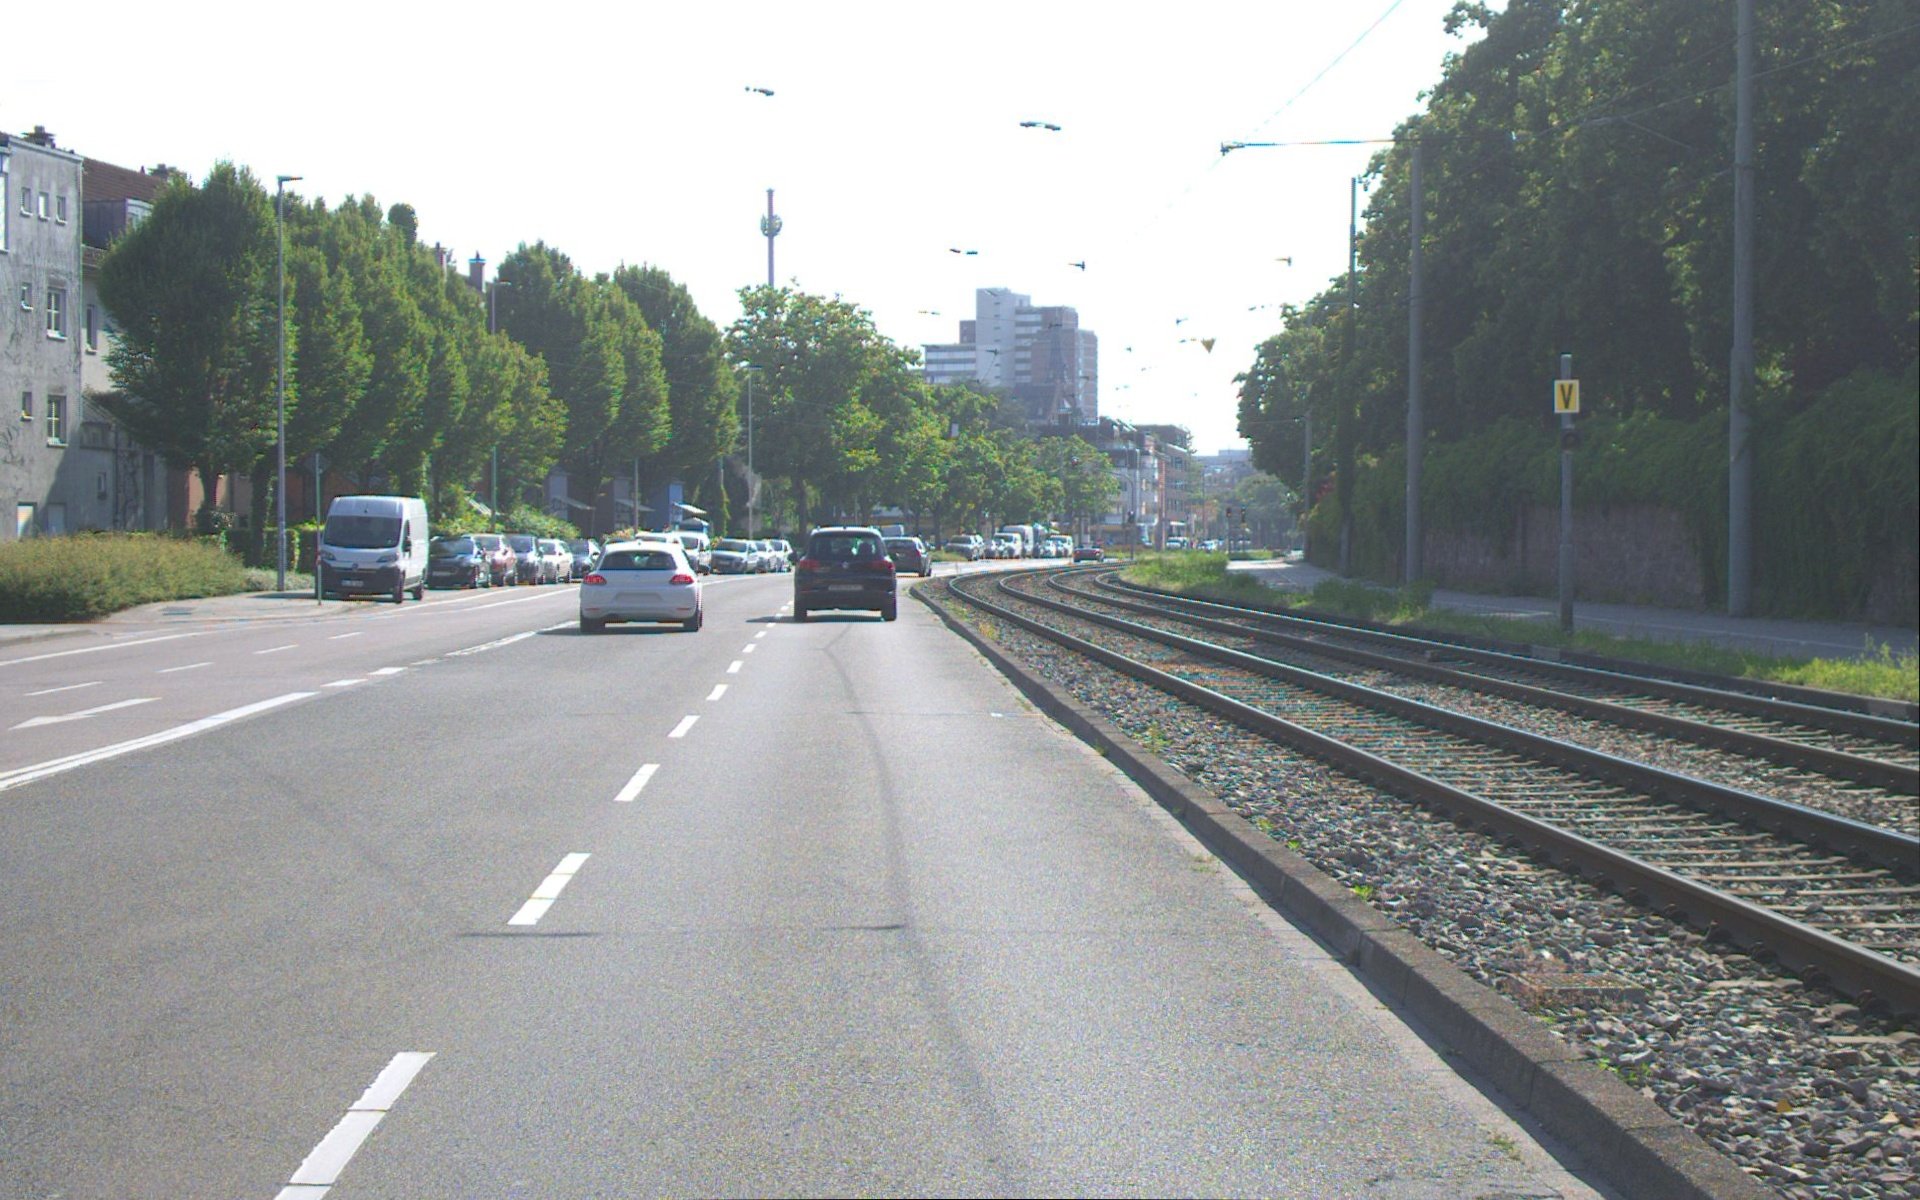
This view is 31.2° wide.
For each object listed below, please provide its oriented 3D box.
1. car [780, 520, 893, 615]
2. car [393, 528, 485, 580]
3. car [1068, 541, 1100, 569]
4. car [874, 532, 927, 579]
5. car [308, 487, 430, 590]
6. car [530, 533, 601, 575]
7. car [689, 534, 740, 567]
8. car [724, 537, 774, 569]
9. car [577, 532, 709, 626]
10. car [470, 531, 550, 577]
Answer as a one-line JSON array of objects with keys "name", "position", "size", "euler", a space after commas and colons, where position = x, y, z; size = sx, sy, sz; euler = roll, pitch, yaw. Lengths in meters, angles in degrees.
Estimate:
[{"name": "car", "position": [-2.219, -0.598, 61.010], "size": [1.724, 1.587, 3.602], "euler": [2, 1, -6]}, {"name": "car", "position": [-14.715, -1.310, 97.329], "size": [1.993, 1.411, 3.844], "euler": [0, 1, 0]}, {"name": "car", "position": [7.459, -2.705, 206.689], "size": [1.724, 1.587, 3.601], "euler": [2, 1, 4]}, {"name": "car", "position": [-2.134, -1.617, 123.545], "size": [1.724, 1.587, 3.601], "euler": [2, 1, 1]}, {"name": "car", "position": [-14.039, -1.478, 81.873], "size": [1.993, 2.368, 4.538], "euler": [0, 1, 1]}, {"name": "car", "position": [-13.757, -1.630, 120.045], "size": [1.993, 1.411, 3.844], "euler": [0, 1, 0]}, {"name": "car", "position": [-10.916, -2.227, 153.103], "size": [1.993, 1.411, 3.844], "euler": [0, 1, 0]}, {"name": "car", "position": [-9.668, -2.171, 157.842], "size": [1.993, 1.411, 3.844], "euler": [0, 1, 0]}, {"name": "car", "position": [-4.880, -0.352, 53.271], "size": [1.781, 1.351, 3.601], "euler": [2, 1, -2]}, {"name": "car", "position": [-14.277, -1.473, 109.224], "size": [1.993, 1.411, 3.844], "euler": [0, 1, 0]}]
